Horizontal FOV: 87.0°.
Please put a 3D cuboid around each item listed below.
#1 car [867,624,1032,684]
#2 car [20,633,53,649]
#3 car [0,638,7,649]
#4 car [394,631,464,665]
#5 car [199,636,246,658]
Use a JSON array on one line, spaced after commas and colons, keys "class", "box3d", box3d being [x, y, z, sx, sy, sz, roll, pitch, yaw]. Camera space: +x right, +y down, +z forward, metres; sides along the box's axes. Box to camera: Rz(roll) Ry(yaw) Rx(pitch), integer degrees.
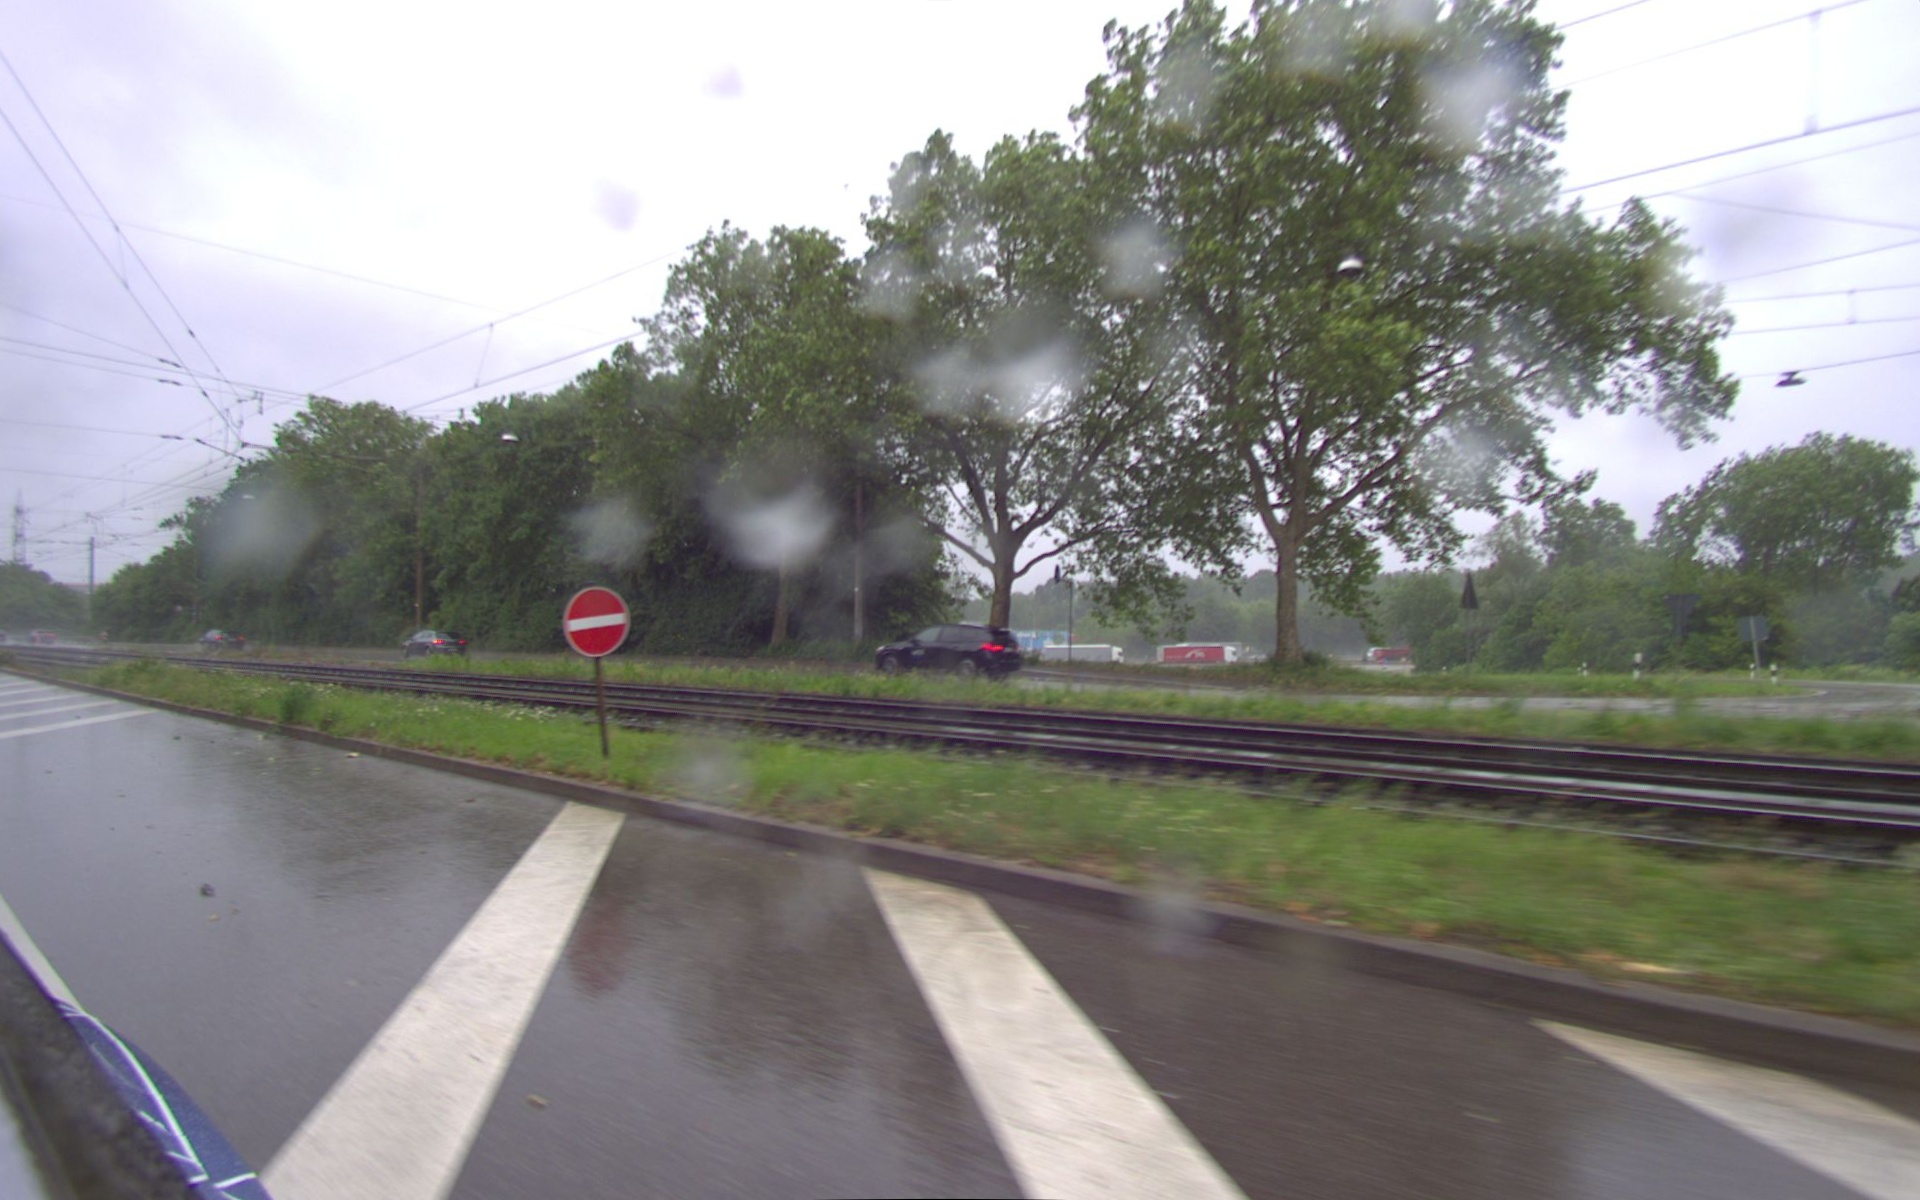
[{"class": "car", "box3d": [-0.348, 1.482, 28.768, 4.272, 1.540, 2.191, -2, -2, 38]}, {"class": "car", "box3d": [-91.616, 4.071, 100.357, 4.950, 1.535, 1.674, -2, -2, 39]}, {"class": "car", "box3d": [-115.651, 5.182, 121.148, 4.375, 1.340, 1.754, -2, -2, 39]}, {"class": "car", "box3d": [-26.521, 2.350, 50.518, 4.043, 1.580, 1.634, -1, -1, 39]}, {"class": "car", "box3d": [-50.294, 3.161, 68.984, 3.935, 1.417, 1.665, -1, -1, 39]}]
